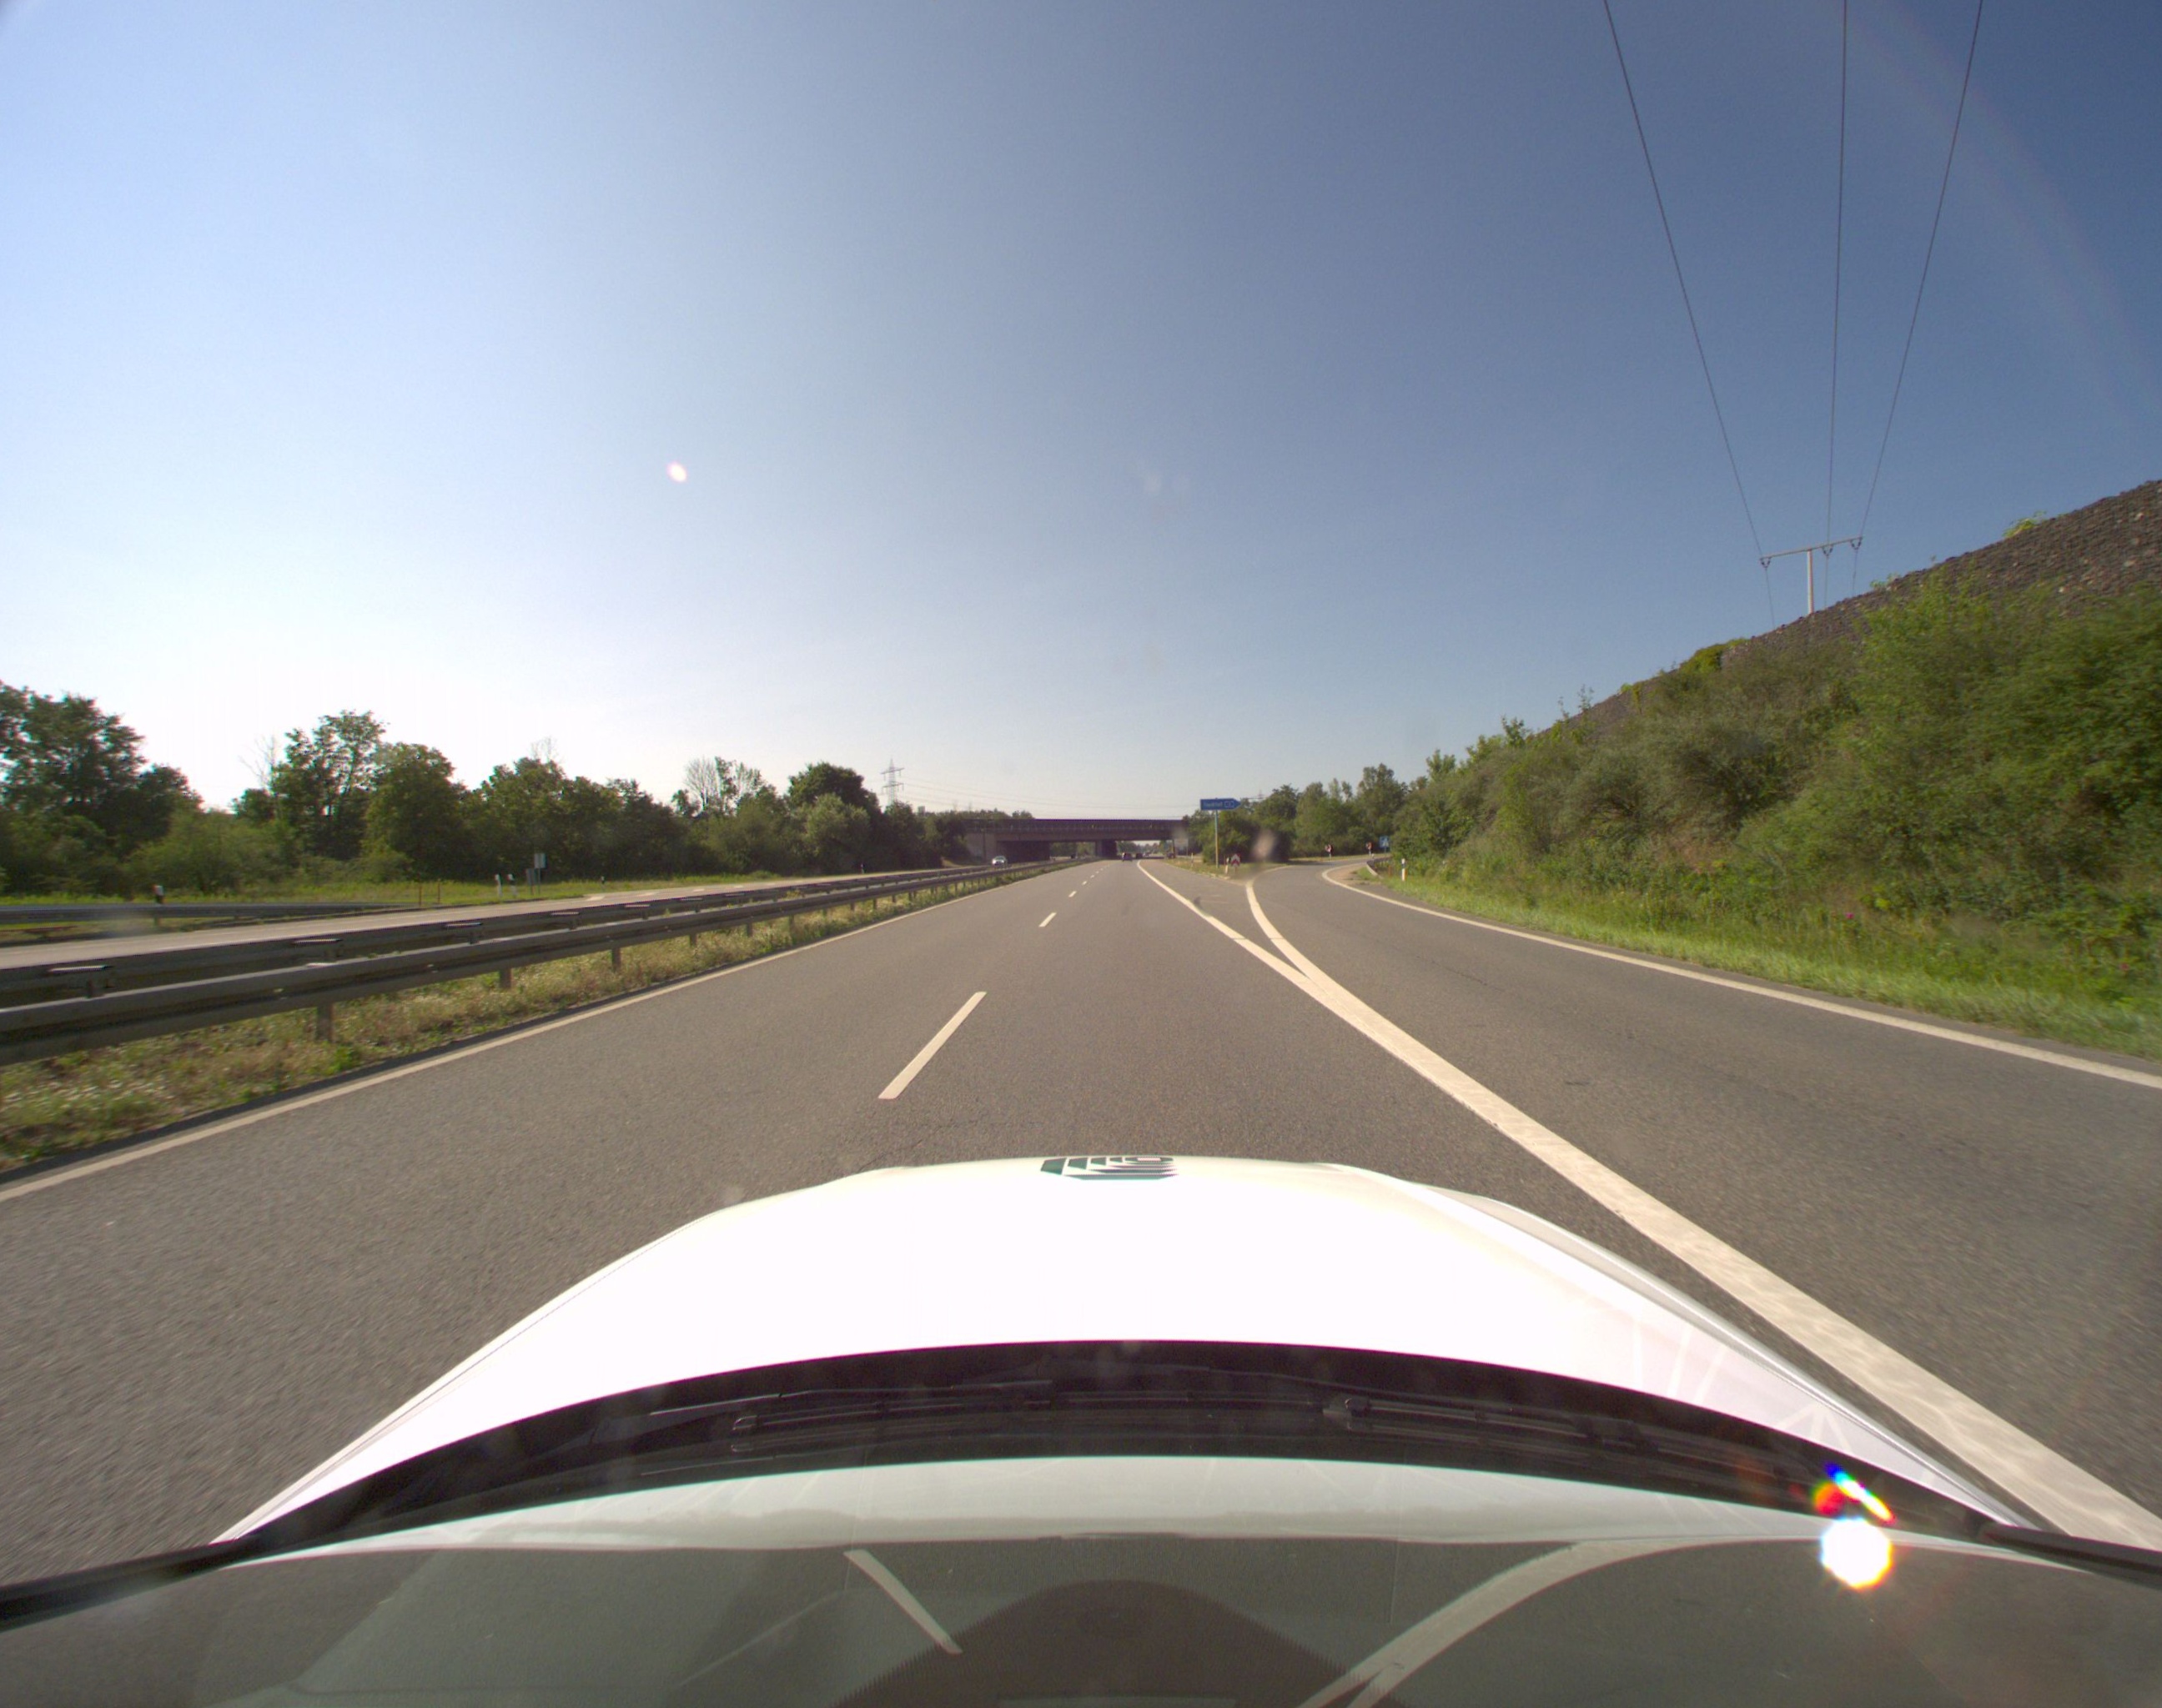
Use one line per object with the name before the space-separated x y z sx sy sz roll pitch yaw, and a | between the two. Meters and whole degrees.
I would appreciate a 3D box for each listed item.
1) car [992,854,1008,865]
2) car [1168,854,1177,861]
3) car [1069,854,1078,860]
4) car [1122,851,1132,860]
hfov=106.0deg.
car | -11.519 0.761 116.400 1.668 1.410 3.766 0 0 3
car | 19.832 0.779 176.597 1.842 1.644 4.004 0 0 4
car | -2.008 0.677 210.619 1.954 1.409 3.639 -2 0 3
car | 8.292 0.326 147.164 1.842 1.644 4.004 0 0 4
